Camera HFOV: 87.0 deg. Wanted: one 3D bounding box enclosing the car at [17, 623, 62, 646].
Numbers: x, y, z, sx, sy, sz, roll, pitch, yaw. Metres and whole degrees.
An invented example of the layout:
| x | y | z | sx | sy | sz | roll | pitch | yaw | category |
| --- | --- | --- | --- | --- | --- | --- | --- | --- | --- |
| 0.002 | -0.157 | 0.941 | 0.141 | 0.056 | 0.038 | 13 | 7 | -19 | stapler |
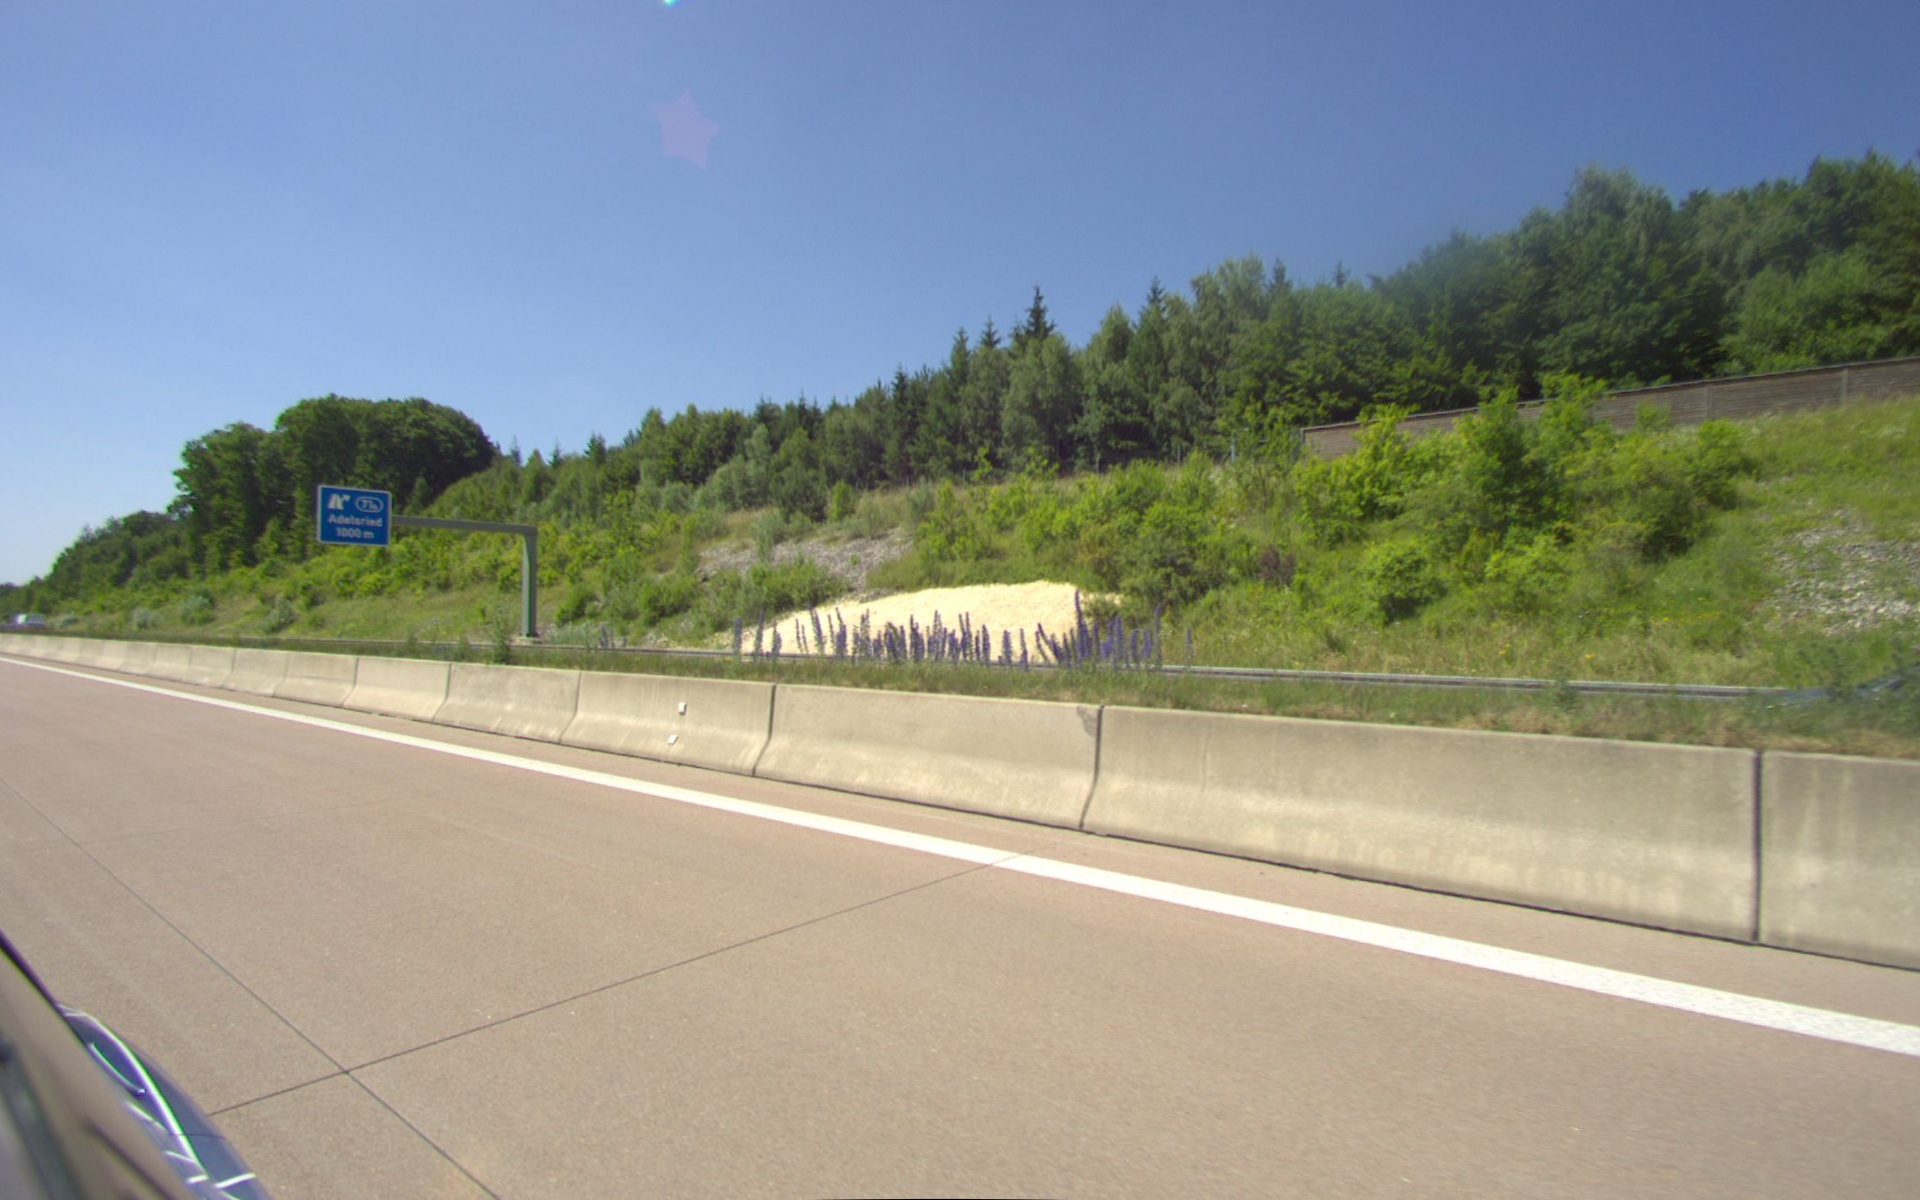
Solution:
| x | y | z | sx | sy | sz | roll | pitch | yaw | category |
| --- | --- | --- | --- | --- | --- | --- | --- | --- | --- |
| -70.668 | 2.680 | 77.663 | 4.973 | 1.606 | 1.872 | -3 | -1 | 40 | car |

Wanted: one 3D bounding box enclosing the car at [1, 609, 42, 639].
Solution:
| x | y | z | sx | sy | sz | roll | pitch | yaw | category |
| --- | --- | --- | --- | --- | --- | --- | --- | --- | --- |
| -97.429 | 2.516 | 105.029 | 7.498 | 2.992 | 2.384 | -3 | -2 | 41 | car |

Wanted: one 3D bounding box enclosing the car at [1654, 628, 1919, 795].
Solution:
| x | y | z | sx | sy | sz | roll | pitch | yaw | category |
| --- | --- | --- | --- | --- | --- | --- | --- | --- | --- |
| 10.346 | 1.108 | 10.495 | 4.975 | 1.606 | 1.871 | -3 | -2 | 41 | car |
